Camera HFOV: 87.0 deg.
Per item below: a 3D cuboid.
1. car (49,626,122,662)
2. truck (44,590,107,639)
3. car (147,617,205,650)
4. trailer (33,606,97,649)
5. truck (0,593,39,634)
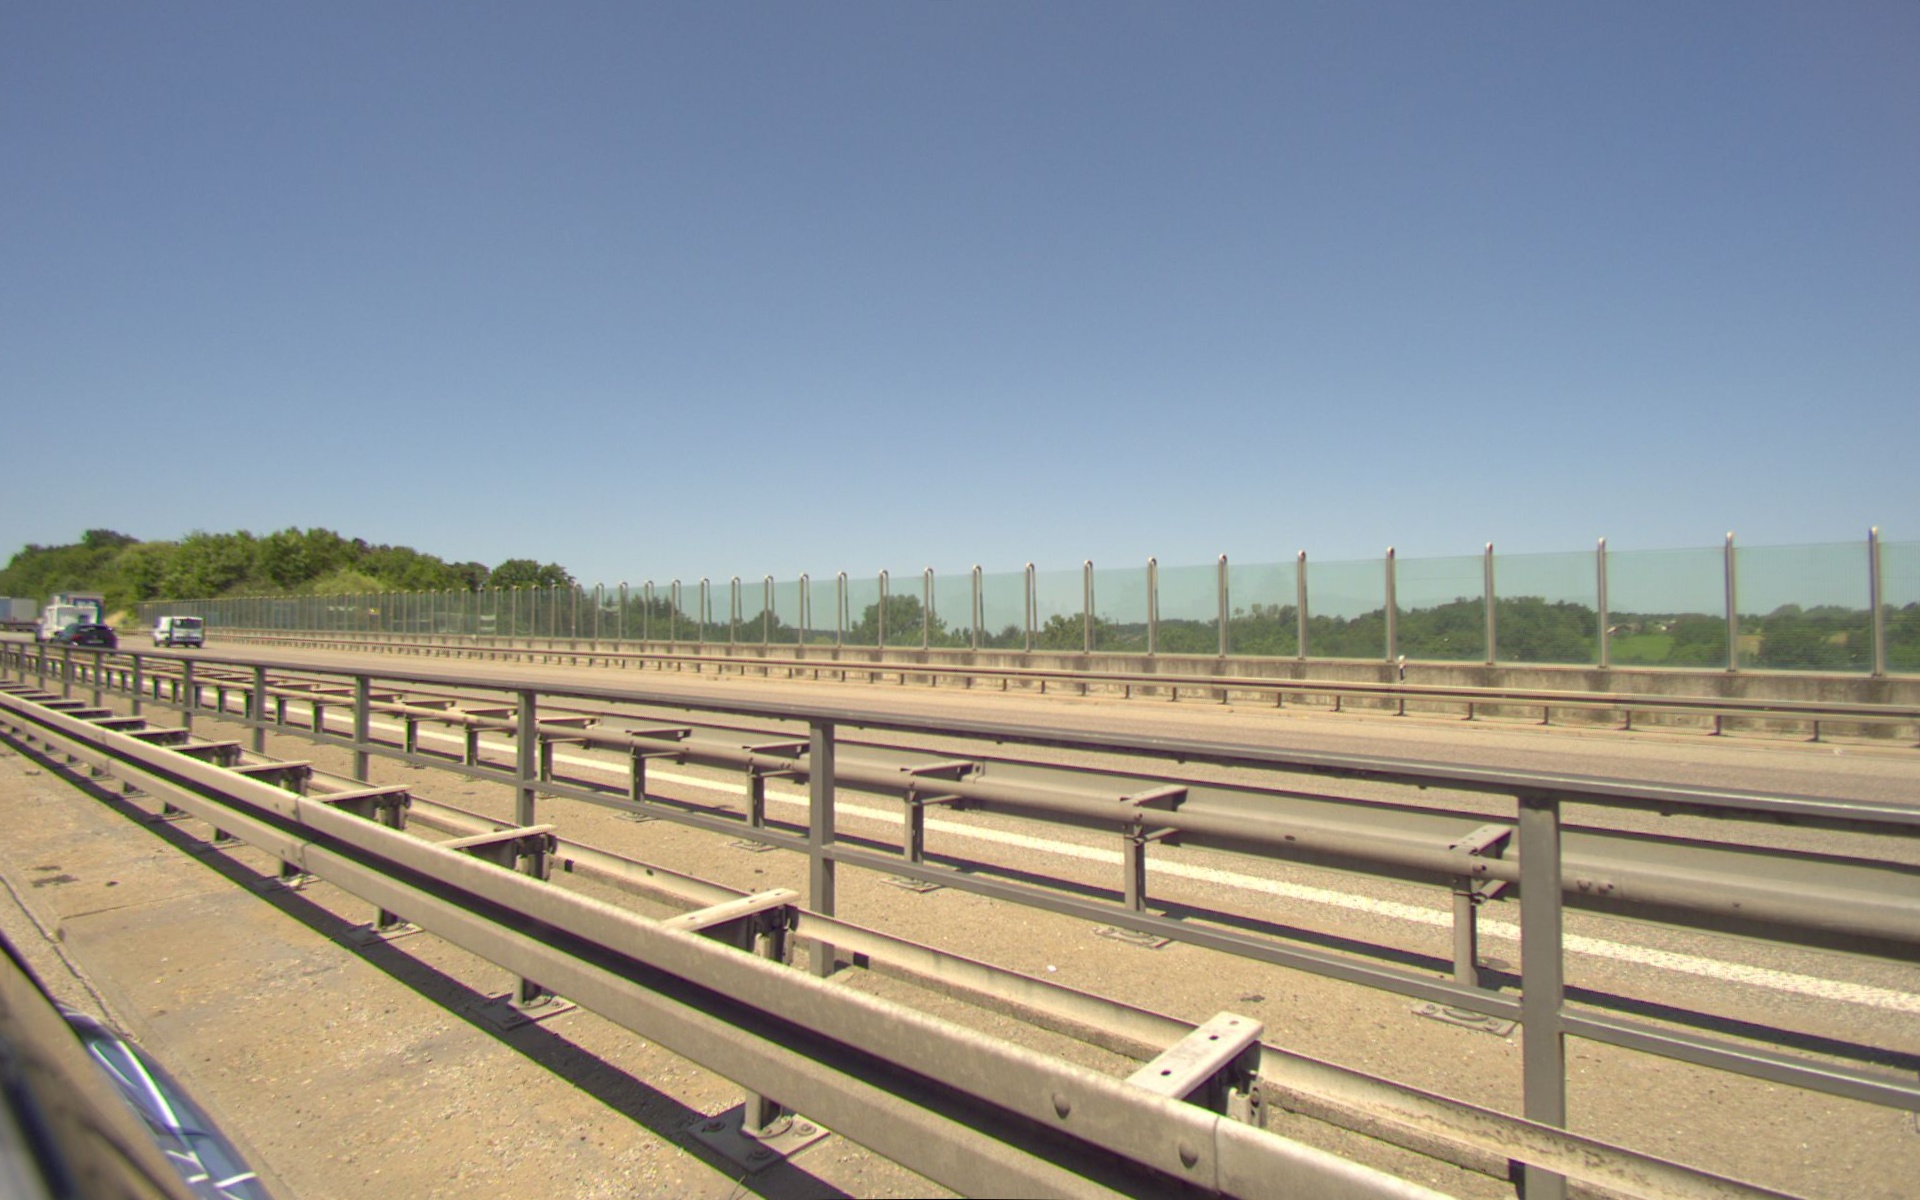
[{"bbox_3d":[-37.712,1.868,43.616,4.264,1.430,1.749,-1,-3,41],"label":"car"},{"bbox_3d":[-79.497,1.342,90.866,9.985,4.117,2.839,-1,-4,42],"label":"truck"},{"bbox_3d":[-50.575,2.144,65.238,4.487,1.999,2.013,-1,-4,41],"label":"car"},{"bbox_3d":[-60.092,1.844,67.915,6.357,2.727,2.292,-1,-4,41],"label":"trailer"},{"bbox_3d":[-111.908,1.638,119.891,9.985,4.575,2.839,-1,-4,42],"label":"truck"}]
